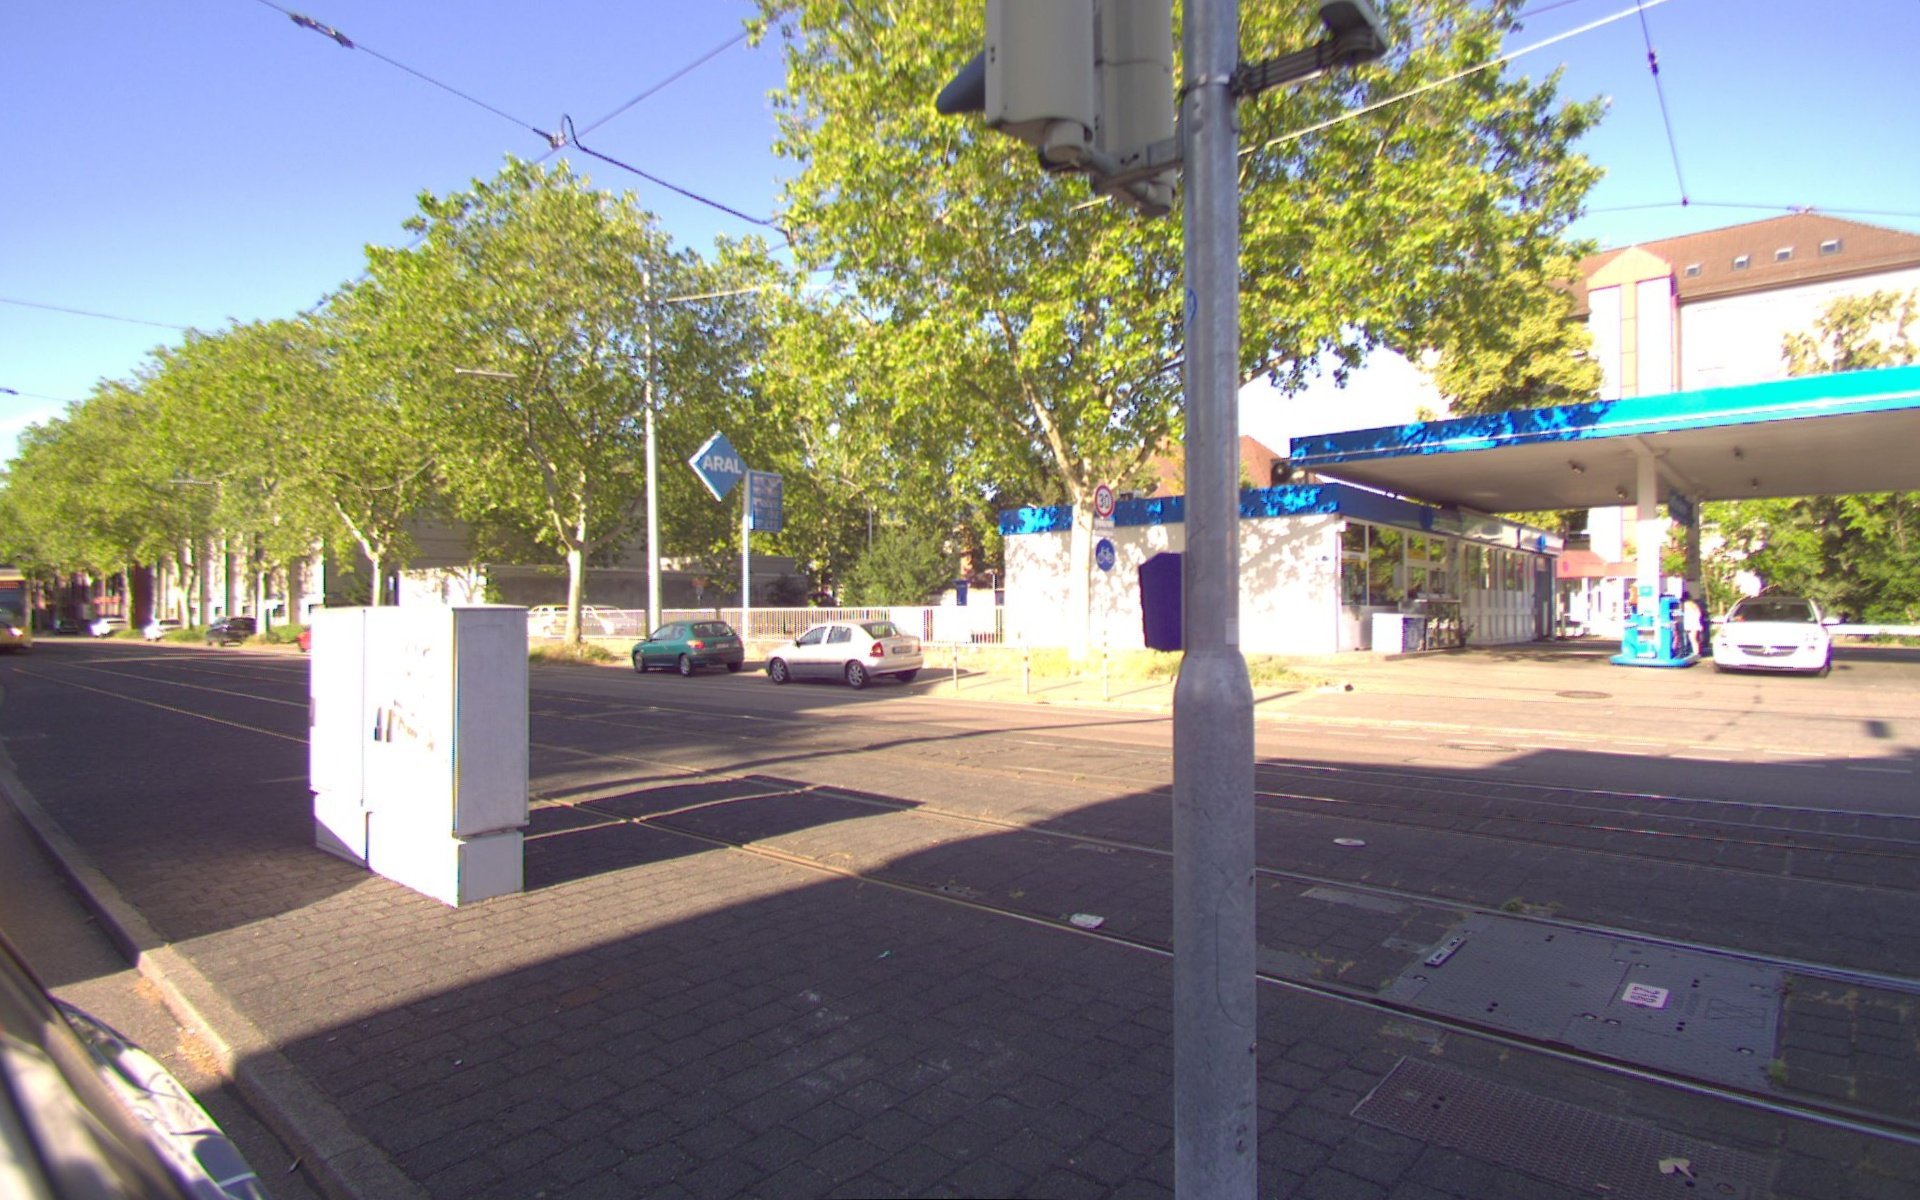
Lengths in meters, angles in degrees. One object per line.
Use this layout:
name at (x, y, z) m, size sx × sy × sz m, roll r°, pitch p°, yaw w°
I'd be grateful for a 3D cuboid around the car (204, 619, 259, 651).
car at (-40.677, 1.925, 56.464) m, size 3.748 × 1.670 × 1.674 m, roll -1°, pitch 1°, yaw 41°

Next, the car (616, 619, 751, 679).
car at (-7.405, 1.257, 26.978) m, size 3.748 × 1.413 × 1.674 m, roll -1°, pitch 1°, yaw 41°

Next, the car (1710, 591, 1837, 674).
car at (15.880, 0.606, 19.700) m, size 1.757 × 1.453 × 3.521 m, roll -1°, pitch -1°, yaw 41°

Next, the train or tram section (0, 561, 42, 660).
train or tram section at (-40.767, 0.495, 41.796) m, size 12.646 × 3.692 × 2.683 m, roll -1°, pitch -1°, yaw 41°

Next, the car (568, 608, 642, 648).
car at (-15.268, 1.186, 43.455) m, size 3.303 × 1.604 × 1.579 m, roll -1°, pitch 0°, yaw 41°

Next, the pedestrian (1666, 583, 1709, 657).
pedestrian at (16.974, 0.469, 23.631) m, size 0.643 × 1.714 × 0.498 m, roll -1°, pitch -1°, yaw 15°

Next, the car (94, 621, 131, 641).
car at (-66.677, 2.427, 79.620) m, size 3.748 × 1.459 × 1.674 m, roll -1°, pitch 1°, yaw 41°

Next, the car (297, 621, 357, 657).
car at (-28.689, 1.743, 45.839) m, size 2.621 × 1.519 × 1.579 m, roll -1°, pitch 1°, yaw 41°

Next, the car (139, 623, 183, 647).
car at (-53.861, 2.325, 68.191) m, size 3.748 × 1.459 × 1.674 m, roll -1°, pitch 1°, yaw 41°

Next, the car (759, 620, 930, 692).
car at (-2.642, 1.198, 22.649) m, size 3.812 × 1.413 × 1.674 m, roll -1°, pitch 1°, yaw 41°

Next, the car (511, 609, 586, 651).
car at (-17.087, 1.220, 41.978) m, size 3.303 × 1.628 × 1.579 m, roll -1°, pitch 0°, yaw 41°

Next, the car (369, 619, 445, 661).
car at (-21.880, 1.547, 40.011) m, size 3.303 × 1.519 × 1.579 m, roll -1°, pitch 1°, yaw 41°

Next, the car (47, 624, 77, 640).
car at (-85.236, 3.007, 96.060) m, size 3.748 × 1.459 × 1.674 m, roll -1°, pitch 1°, yaw 41°
